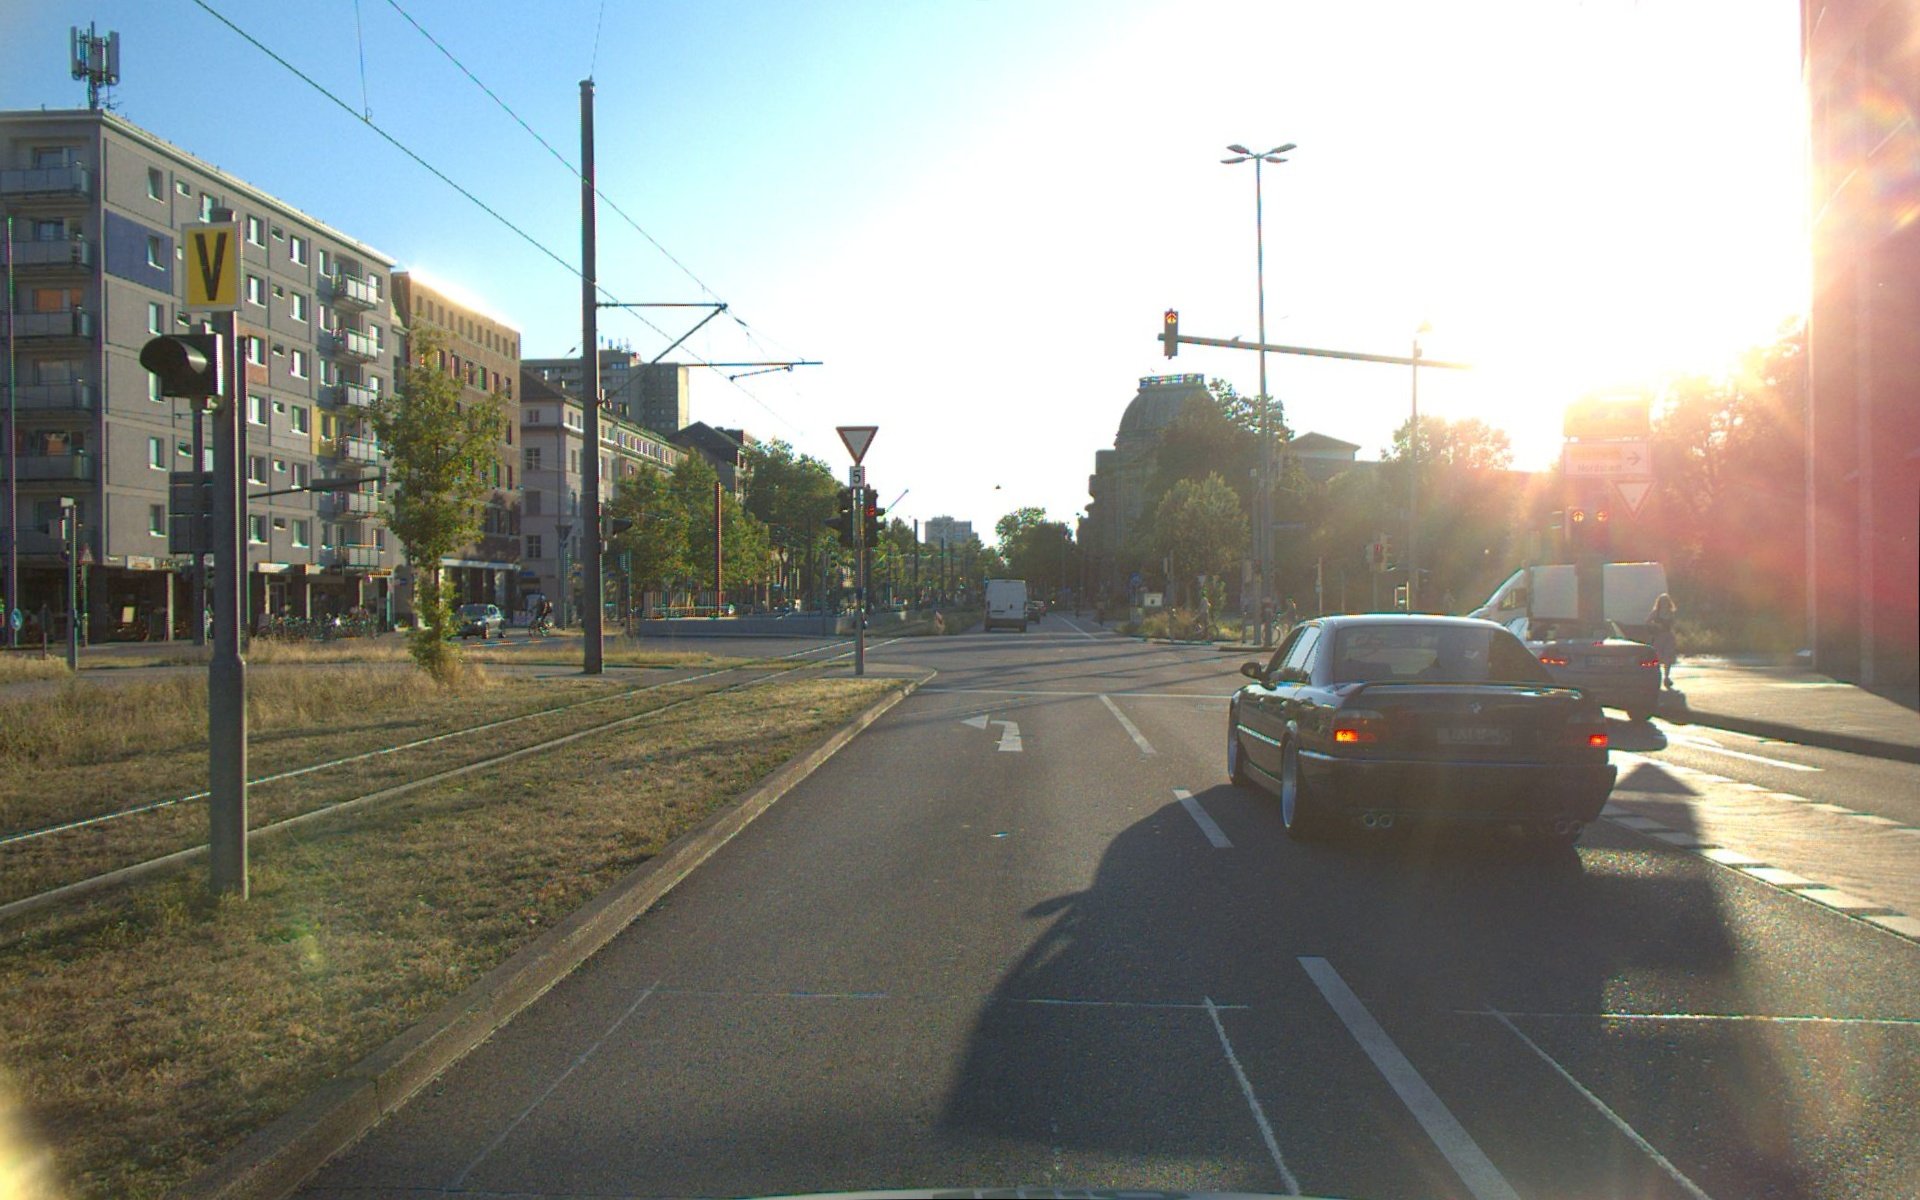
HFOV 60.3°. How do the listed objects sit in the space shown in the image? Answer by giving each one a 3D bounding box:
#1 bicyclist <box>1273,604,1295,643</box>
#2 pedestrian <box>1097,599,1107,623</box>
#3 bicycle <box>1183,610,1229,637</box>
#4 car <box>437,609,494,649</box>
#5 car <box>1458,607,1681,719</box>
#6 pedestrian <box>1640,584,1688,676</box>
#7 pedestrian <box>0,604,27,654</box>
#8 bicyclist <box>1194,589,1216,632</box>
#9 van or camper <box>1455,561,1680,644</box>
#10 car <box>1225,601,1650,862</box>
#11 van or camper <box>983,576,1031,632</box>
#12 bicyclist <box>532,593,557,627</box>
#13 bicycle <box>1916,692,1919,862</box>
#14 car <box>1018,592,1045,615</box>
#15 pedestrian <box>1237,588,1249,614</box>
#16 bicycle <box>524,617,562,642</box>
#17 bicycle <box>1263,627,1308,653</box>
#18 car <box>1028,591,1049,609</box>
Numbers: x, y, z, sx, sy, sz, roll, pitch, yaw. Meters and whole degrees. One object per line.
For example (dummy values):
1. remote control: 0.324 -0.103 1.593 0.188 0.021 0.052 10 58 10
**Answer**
1. bicyclist: 12.708 0.917 64.893 0.835 1.467 0.664 -1 1 12
2. pedestrian: 8.917 0.690 103.689 0.603 1.501 0.801 -1 1 7
3. bicycle: 9.398 0.904 63.284 1.692 0.987 0.610 0 1 5
4. car: -20.417 1.159 68.206 1.691 1.459 3.970 0 2 -25
5. car: 8.602 0.826 23.739 1.746 1.378 4.268 0 1 2
6. pedestrian: 12.537 0.528 29.467 0.662 1.597 0.801 -1 1 14
7. pedestrian: -32.936 1.007 57.353 0.728 1.699 0.778 0 1 42
8. bicyclist: 9.373 0.402 63.284 0.780 1.599 0.664 -1 1 5
9. van or camper: 20.976 0.067 57.398 6.894 2.721 2.600 -1 1 5
10. car: 3.038 0.735 11.572 1.792 1.378 4.643 0 1 2
11. van or camper: 2.389 0.162 82.147 2.215 2.670 4.505 -1 1 3
12. bicyclist: -18.281 0.423 72.822 0.648 1.467 0.856 2 1 24
13. bicycle: 5.744 1.026 8.611 0.504 0.971 1.776 1 0 0
14. car: 4.763 0.213 109.669 1.701 1.410 4.002 -1 1 3
15. pedestrian: 18.112 0.087 105.783 0.667 1.639 0.613 -1 1 3
16. bicycle: -18.355 1.295 72.867 0.688 0.987 1.733 3 1 23
17. bicycle: 12.776 1.569 64.898 1.681 0.987 0.610 0 1 13
18. car: 7.436 -0.038 157.327 1.758 1.593 3.999 -1 1 -1
